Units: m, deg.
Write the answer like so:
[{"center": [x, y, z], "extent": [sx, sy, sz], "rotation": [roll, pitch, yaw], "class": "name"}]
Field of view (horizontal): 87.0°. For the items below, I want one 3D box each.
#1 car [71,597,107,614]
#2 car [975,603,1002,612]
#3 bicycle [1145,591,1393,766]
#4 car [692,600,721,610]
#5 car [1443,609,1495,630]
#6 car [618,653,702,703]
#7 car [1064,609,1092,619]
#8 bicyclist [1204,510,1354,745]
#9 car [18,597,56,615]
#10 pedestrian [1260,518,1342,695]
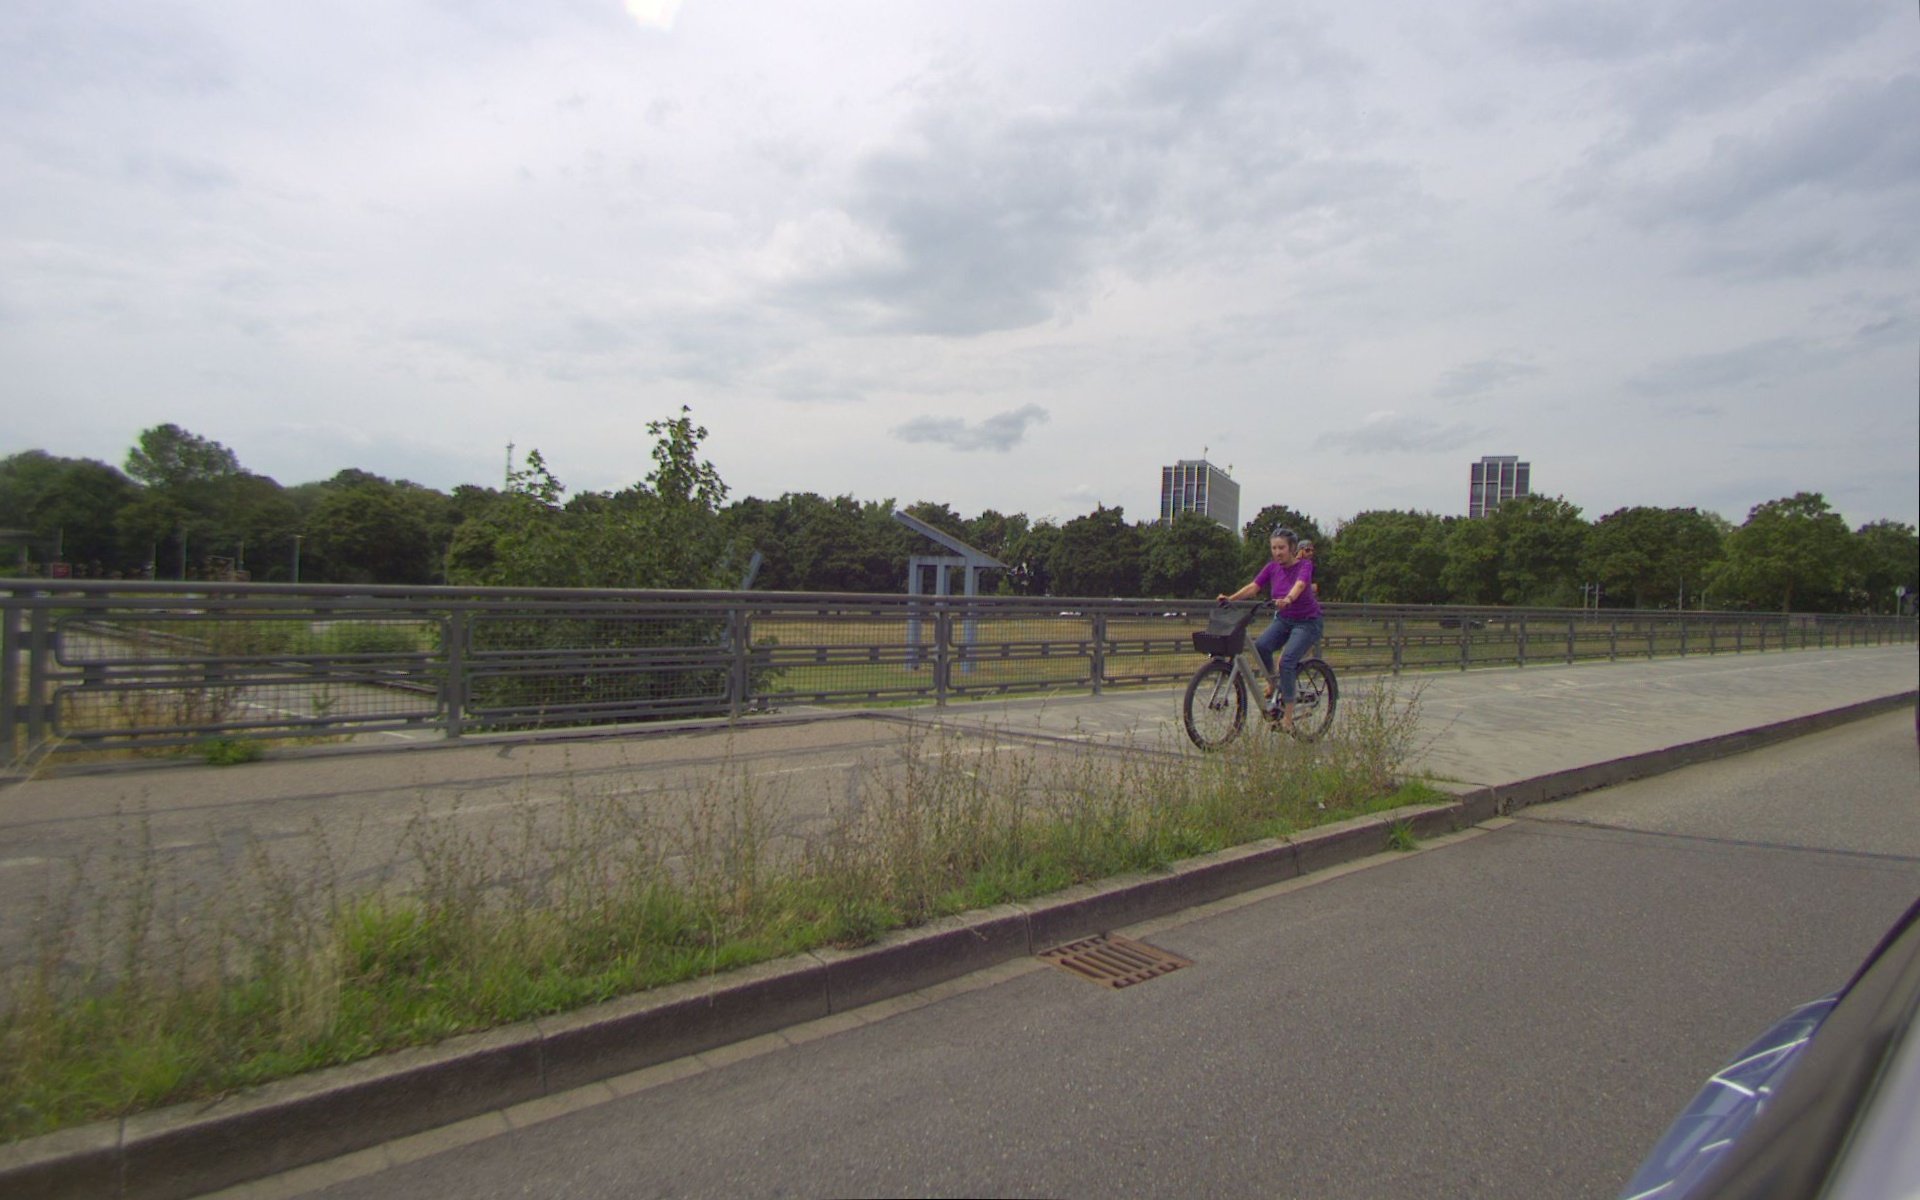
[{"center": [-91.657, 0.587, 106.447], "extent": [3.976, 1.604, 1.975], "rotation": [3, 2, 36], "class": "car"}, {"center": [4.141, 1.111, 148.841], "extent": [3.649, 1.145, 1.663], "rotation": [1, 0, 28], "class": "car"}, {"center": [2.551, 0.562, 8.147], "extent": [2.417, 1.207, 0.695], "rotation": [1, 1, -41], "class": "bicycle"}, {"center": [-37.817, 0.741, 151.052], "extent": [3.918, 1.415, 2.003], "rotation": [2, 0, -8], "class": "car"}, {"center": [54.509, 2.102, 108.413], "extent": [1.963, 2.039, 4.469], "rotation": [2, 0, -38], "class": "car"}, {"center": [-17.467, 4.458, 58.806], "extent": [4.620, 2.460, 1.979], "rotation": [2, 0, 29], "class": "car"}, {"center": [16.710, 1.944, 143.660], "extent": [3.649, 1.288, 1.663], "rotation": [1, 0, 28], "class": "car"}, {"center": [2.593, 0.202, 8.223], "extent": [0.974, 1.777, 0.704], "rotation": [1, 1, -40], "class": "bicyclist"}, {"center": [-93.276, 0.571, 102.308], "extent": [3.973, 1.604, 1.976], "rotation": [3, 2, 34], "class": "car"}, {"center": [4.073, 0.072, 12.090], "extent": [0.655, 2.039, 0.629], "rotation": [2, 0, -38], "class": "pedestrian"}]
